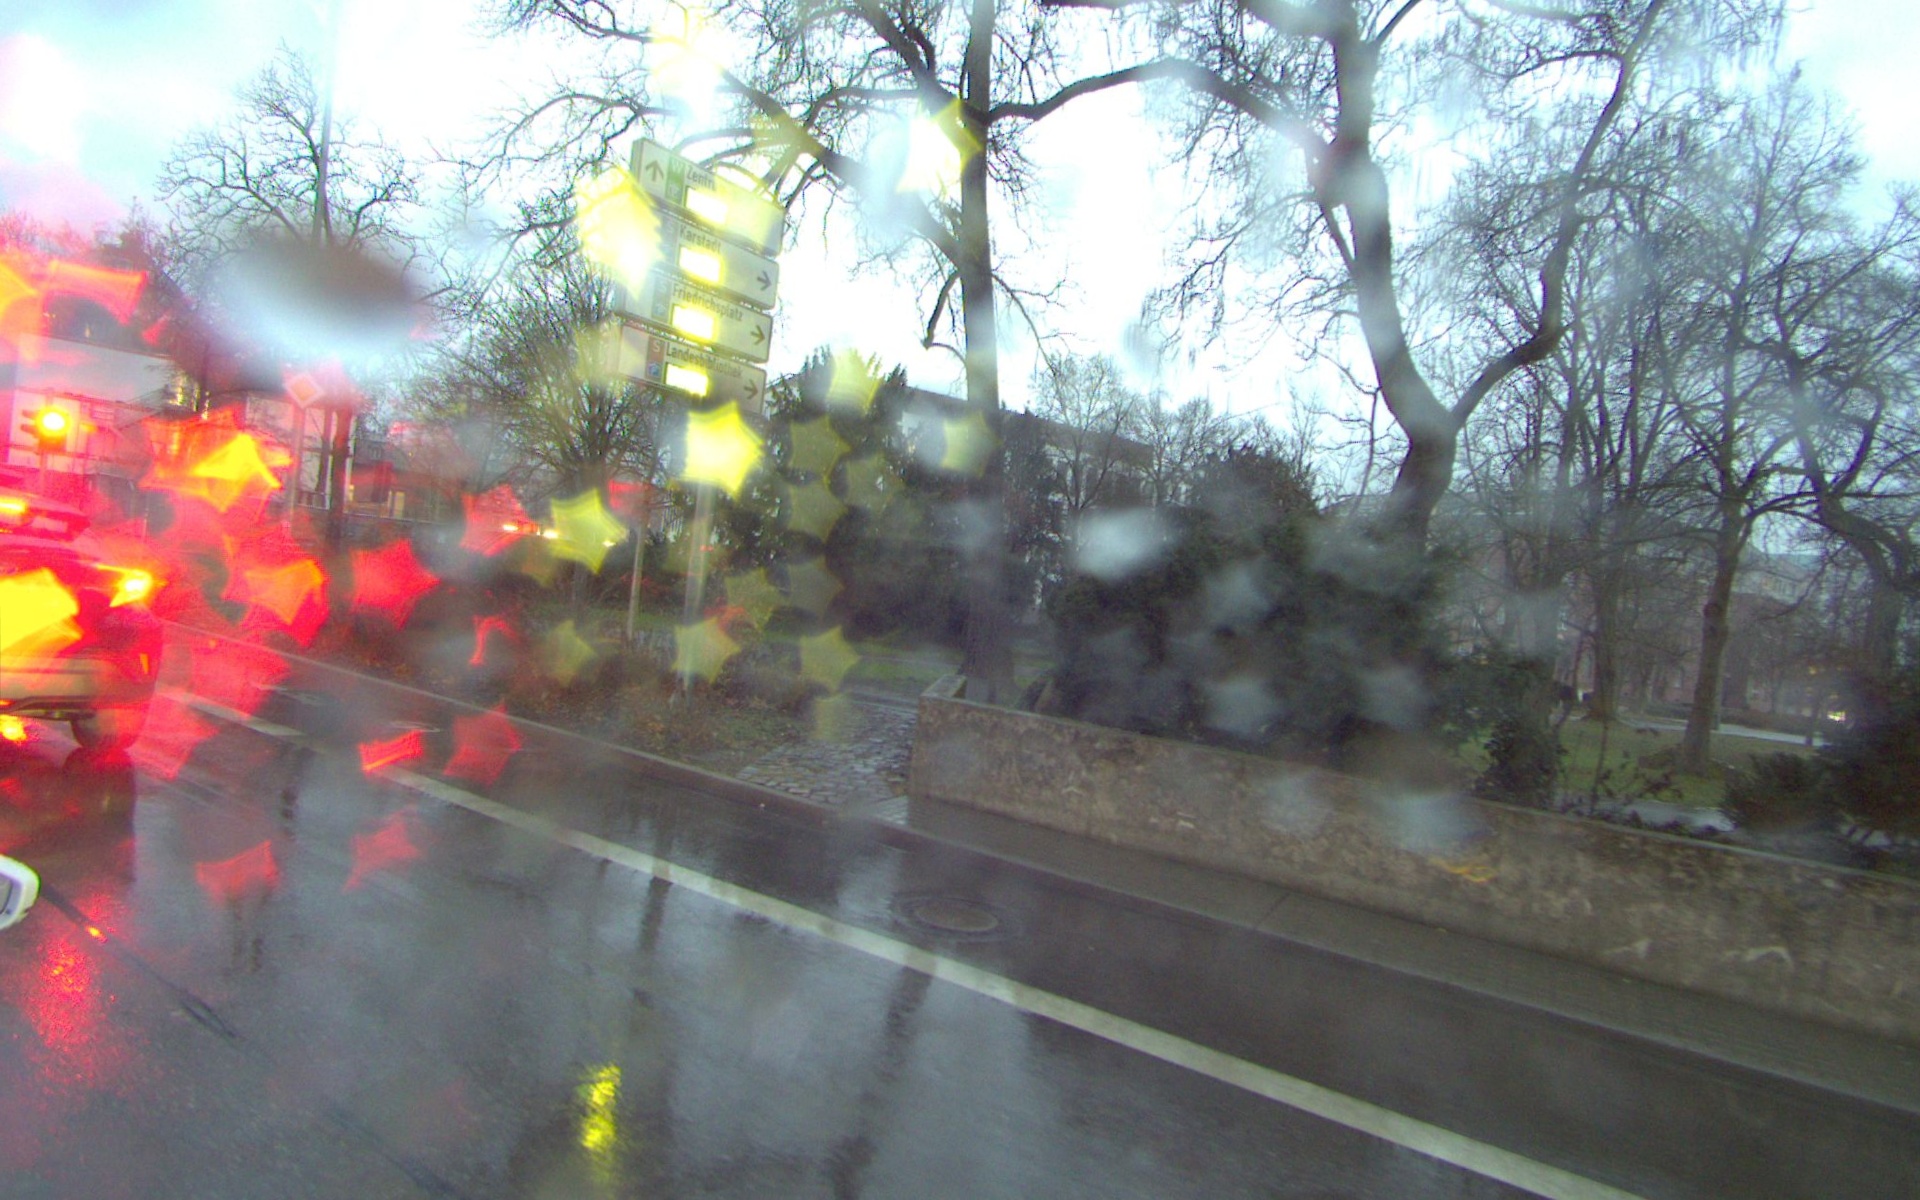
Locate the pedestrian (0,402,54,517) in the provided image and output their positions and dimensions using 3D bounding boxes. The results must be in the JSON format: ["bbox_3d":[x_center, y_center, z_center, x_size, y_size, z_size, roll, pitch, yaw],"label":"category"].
[{"bbox_3d":[-18.237,-2.690,19.123,0.988,2.039,0.962,7,1,10],"label":"pedestrian"}]

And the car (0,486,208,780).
[{"bbox_3d":[-6.599,-0.016,6.194,3.831,1.529,1.802,7,0,32],"label":"car"}]

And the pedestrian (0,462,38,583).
[{"bbox_3d":[-16.956,-1.393,17.587,0.992,2.039,0.958,8,1,38],"label":"pedestrian"}]
